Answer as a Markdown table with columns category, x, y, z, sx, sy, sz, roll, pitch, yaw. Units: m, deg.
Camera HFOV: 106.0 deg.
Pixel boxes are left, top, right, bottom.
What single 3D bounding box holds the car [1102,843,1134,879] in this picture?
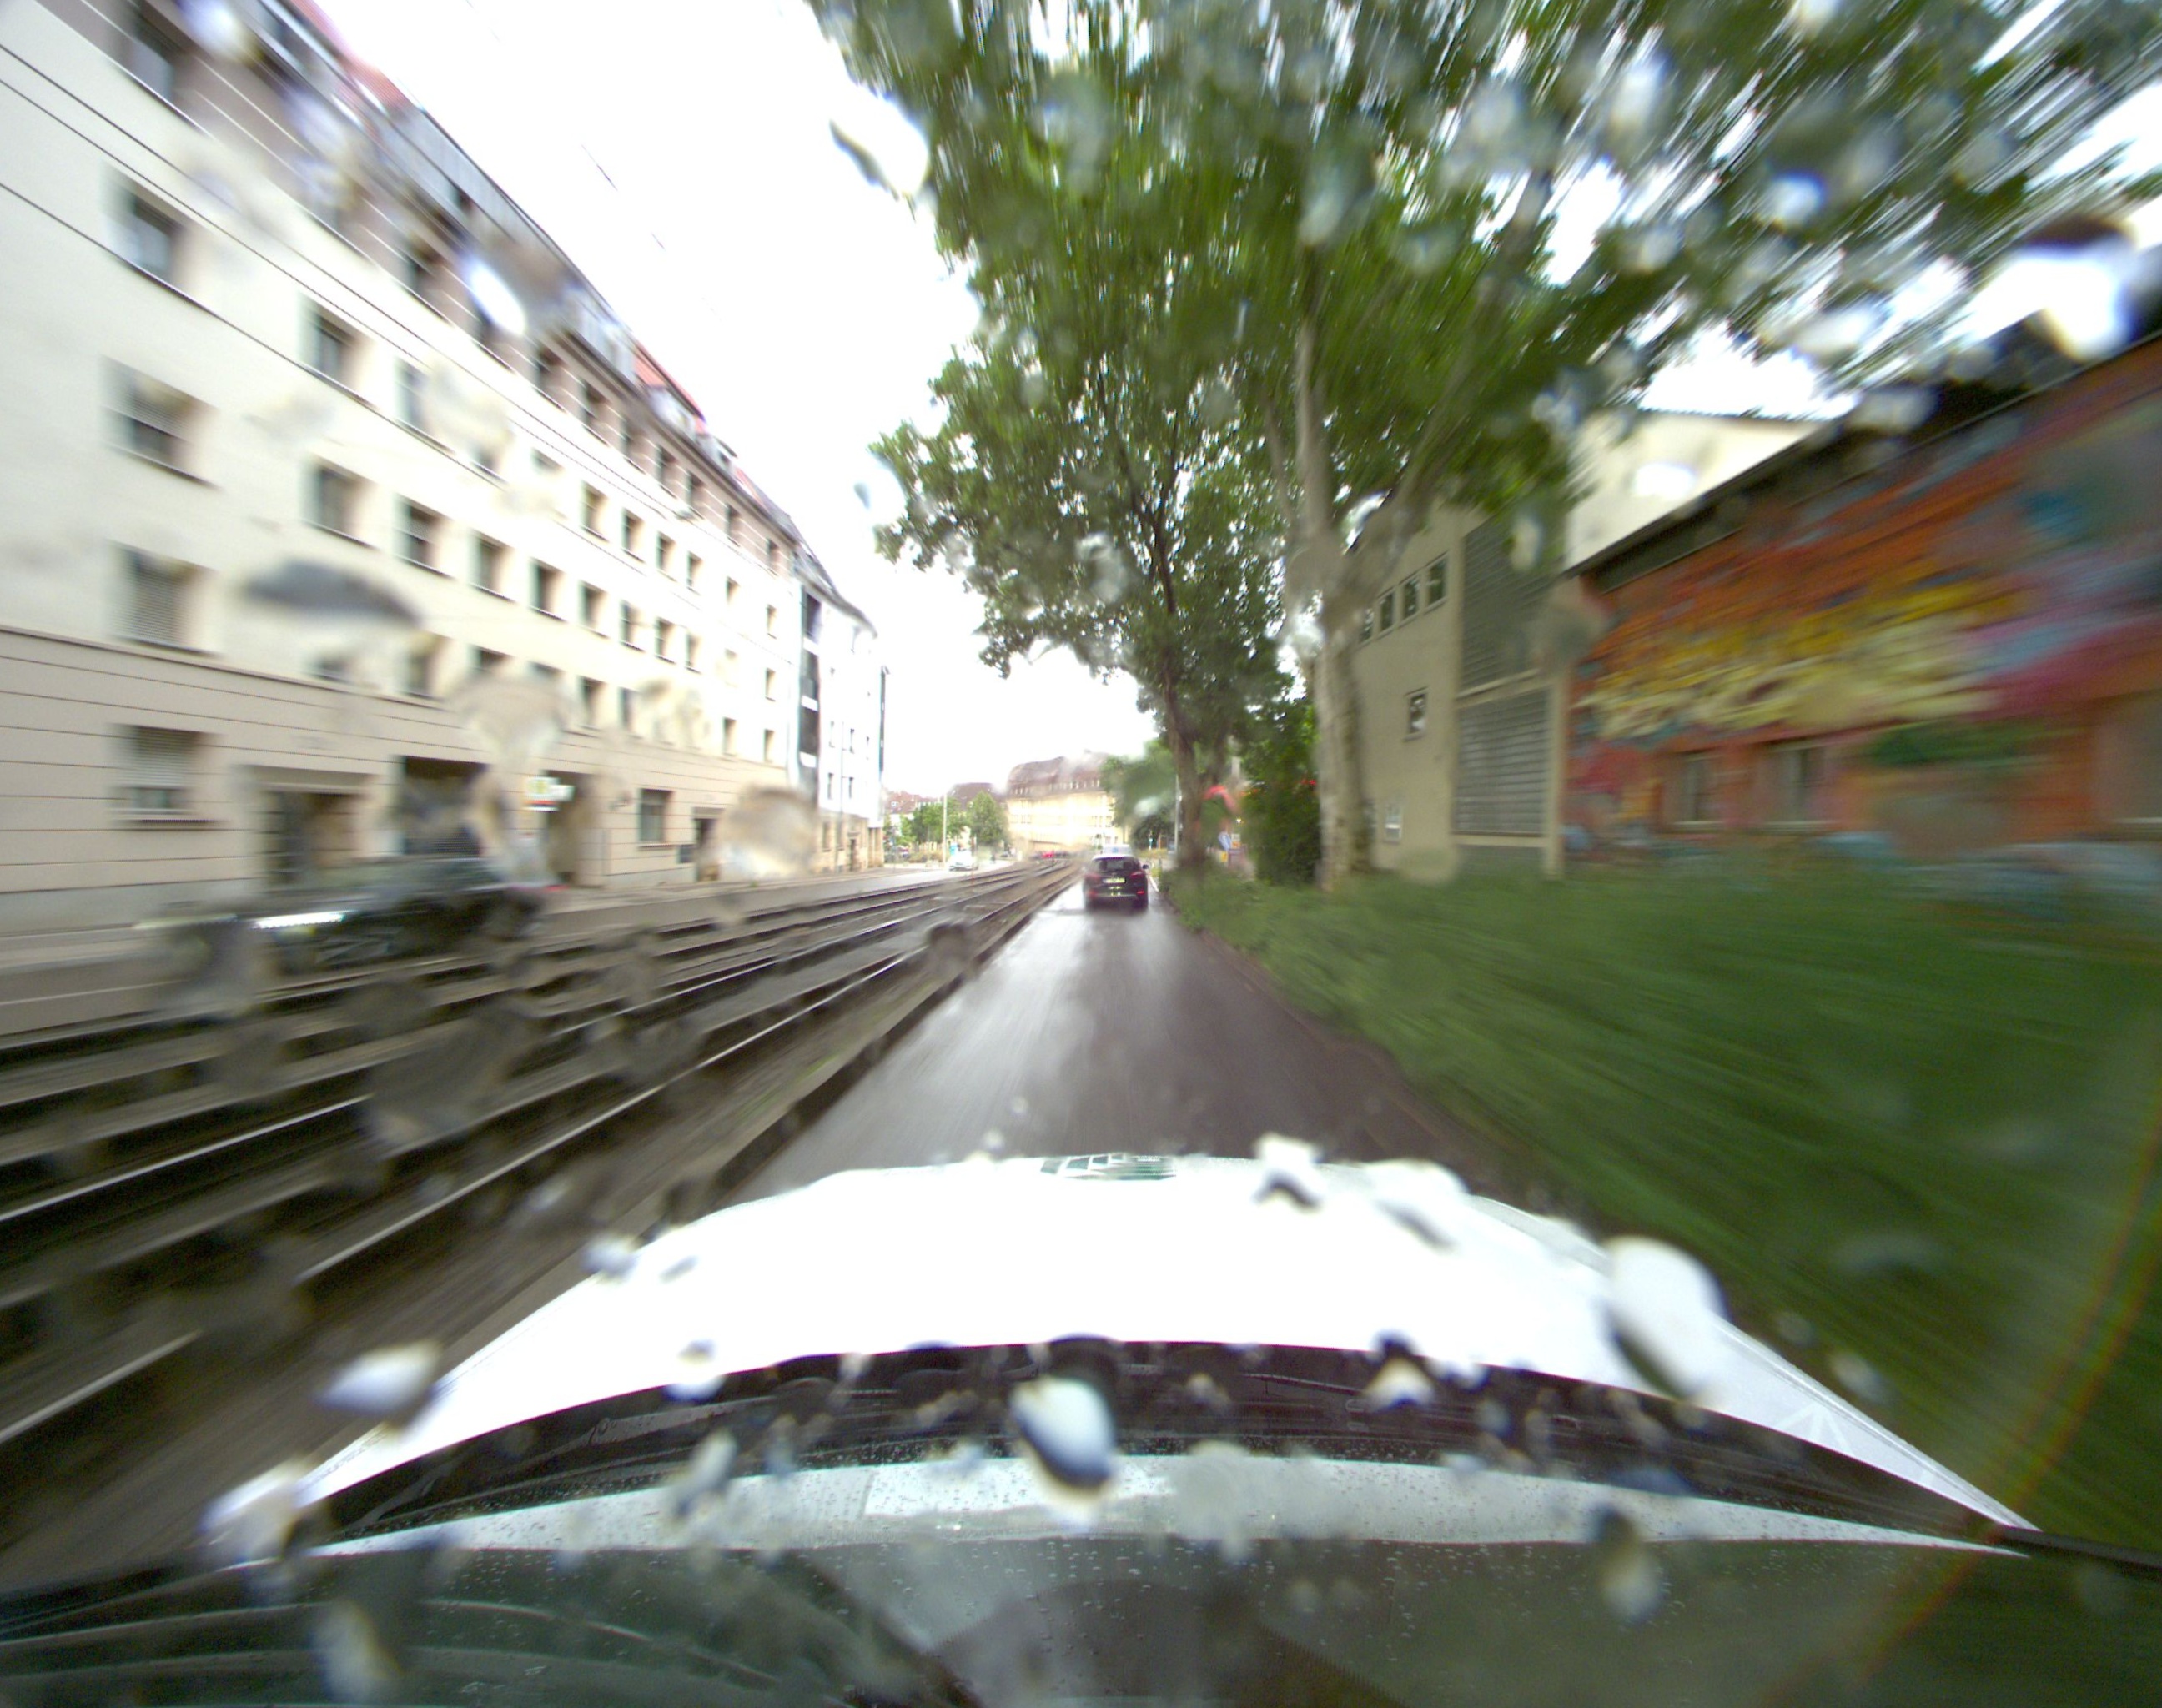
| category | x | y | z | sx | sy | sz | roll | pitch | yaw |
| --- | --- | --- | --- | --- | --- | --- | --- | --- | --- |
| car | 2.129 | 0.373 | 47.158 | 1.734 | 2.013 | 3.905 | 1 | 0 | 2 |

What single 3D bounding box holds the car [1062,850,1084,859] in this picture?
| category | x | y | z | sx | sy | sz | roll | pitch | yaw |
| --- | --- | --- | --- | --- | --- | --- | --- | --- | --- |
| car | -1.416 | 0.026 | 142.947 | 2.007 | 1.542 | 3.959 | 0 | 0 | -33 |

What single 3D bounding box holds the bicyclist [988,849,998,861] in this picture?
| category | x | y | z | sx | sy | sz | roll | pitch | yaw |
| --- | --- | --- | --- | --- | --- | --- | --- | --- | --- |
| bicyclist | -9.727 | 0.073 | 90.323 | 0.777 | 1.313 | 0.782 | -1 | 1 | -36 |

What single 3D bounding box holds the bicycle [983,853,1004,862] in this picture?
| category | x | y | z | sx | sy | sz | roll | pitch | yaw |
| --- | --- | --- | --- | --- | --- | --- | --- | --- | --- |
| bicycle | -9.694 | 0.397 | 90.326 | 2.114 | 0.943 | 0.807 | 0 | 0 | -36 |

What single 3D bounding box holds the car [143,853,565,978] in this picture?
| category | x | y | z | sx | sy | sz | roll | pitch | yaw |
| --- | --- | --- | --- | --- | --- | --- | --- | --- | --- |
| car | -10.284 | 0.730 | 12.223 | 1.873 | 1.486 | 4.856 | 0 | 0 | 2 |

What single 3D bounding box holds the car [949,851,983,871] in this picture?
| category | x | y | z | sx | sy | sz | roll | pitch | yaw |
| --- | --- | --- | --- | --- | --- | --- | --- | --- | --- |
| car | -9.055 | 0.516 | 64.416 | 1.792 | 1.482 | 4.843 | 0 | 0 | 3 |

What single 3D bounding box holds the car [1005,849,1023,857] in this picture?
| category | x | y | z | sx | sy | sz | roll | pitch | yaw |
| --- | --- | --- | --- | --- | --- | --- | --- | --- | --- |
| car | -13.585 | -0.281 | 164.725 | 2.007 | 1.542 | 3.960 | 0 | 0 | -31 |

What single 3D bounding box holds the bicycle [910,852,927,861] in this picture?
| category | x | y | z | sx | sy | sz | roll | pitch | yaw |
| --- | --- | --- | --- | --- | --- | --- | --- | --- | --- |
| bicycle | -19.227 | 0.310 | 96.451 | 1.808 | 1.060 | 0.570 | 0 | 0 | -1 |

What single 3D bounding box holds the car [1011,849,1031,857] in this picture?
| category | x | y | z | sx | sy | sz | roll | pitch | yaw |
| --- | --- | --- | --- | --- | --- | --- | --- | --- | --- |
| car | -11.958 | -0.193 | 161.068 | 2.010 | 1.542 | 3.954 | 0 | 0 | -40 |

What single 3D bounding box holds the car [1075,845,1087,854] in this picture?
| category | x | y | z | sx | sy | sz | roll | pitch | yaw |
| --- | --- | --- | --- | --- | --- | --- | --- | --- | --- |
| car | -0.053 | -0.709 | 139.232 | 1.656 | 1.476 | 3.635 | 0 | 0 | -7 |

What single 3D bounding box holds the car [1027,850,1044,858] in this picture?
| category | x | y | z | sx | sy | sz | roll | pitch | yaw |
| --- | --- | --- | --- | --- | --- | --- | --- | --- | --- |
| car | -8.781 | -0.055 | 157.091 | 2.004 | 1.542 | 3.967 | -1 | 1 | -26 |

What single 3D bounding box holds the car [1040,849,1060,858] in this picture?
| category | x | y | z | sx | sy | sz | roll | pitch | yaw |
| --- | --- | --- | --- | --- | --- | --- | --- | --- | --- |
| car | -5.846 | -0.103 | 152.621 | 2.008 | 1.542 | 3.957 | 0 | 0 | -35 |

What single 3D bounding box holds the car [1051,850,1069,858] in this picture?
| category | x | y | z | sx | sy | sz | roll | pitch | yaw |
| --- | --- | --- | --- | --- | --- | --- | --- | --- | --- |
| car | -3.830 | 0.019 | 147.859 | 1.592 | 1.542 | 3.959 | 0 | 0 | -33 |

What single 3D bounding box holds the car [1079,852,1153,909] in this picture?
| category | x | y | z | sx | sy | sz | roll | pitch | yaw |
| --- | --- | --- | --- | --- | --- | --- | --- | --- | --- |
| car | 0.960 | 0.687 | 23.584 | 1.926 | 1.453 | 4.318 | 1 | 0 | 1 |

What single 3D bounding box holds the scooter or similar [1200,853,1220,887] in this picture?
| category | x | y | z | sx | sy | sz | roll | pitch | yaw |
| --- | --- | --- | --- | --- | --- | --- | --- | --- | --- |
| scooter or similar | 4.738 | 0.583 | 29.884 | 0.370 | 1.234 | 1.378 | -1 | -2 | 23 |
